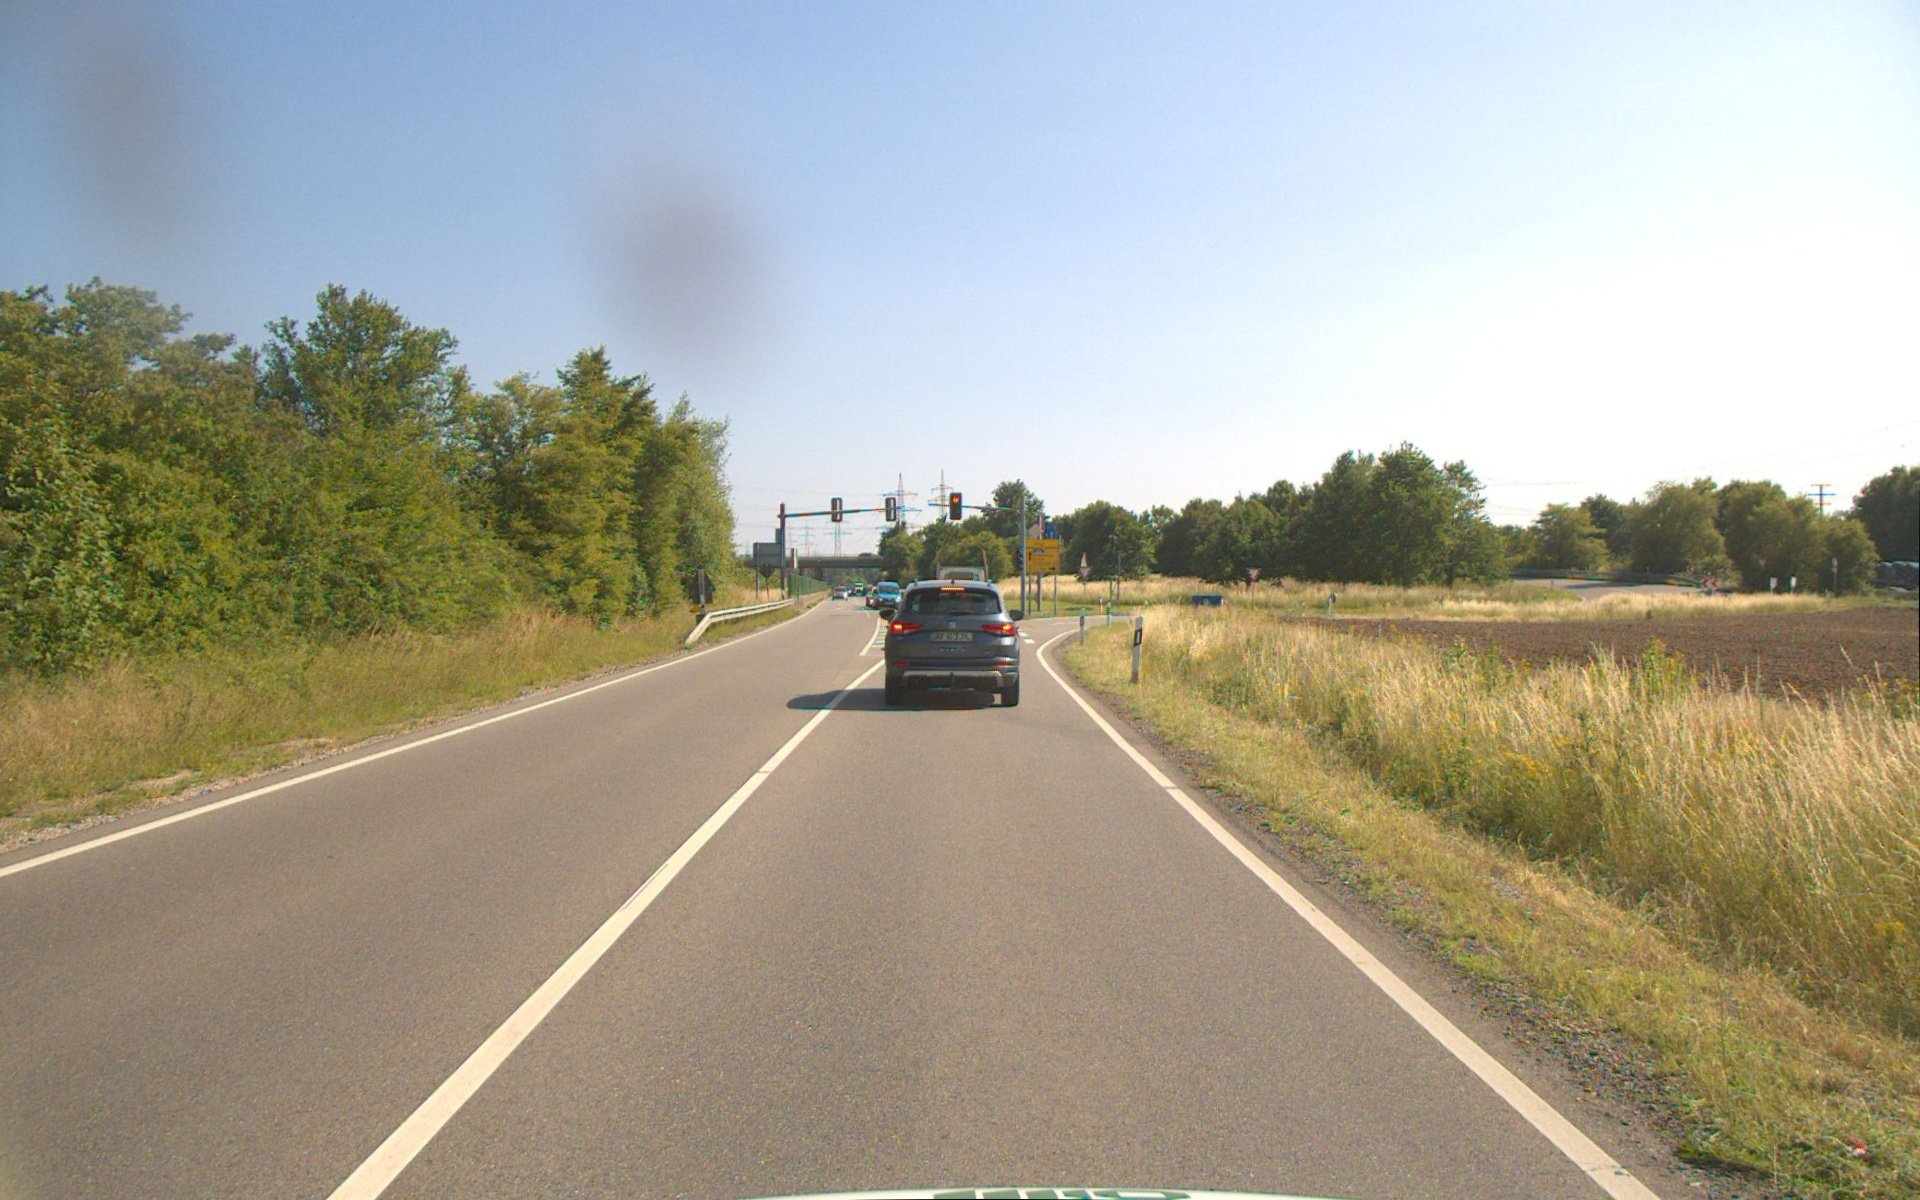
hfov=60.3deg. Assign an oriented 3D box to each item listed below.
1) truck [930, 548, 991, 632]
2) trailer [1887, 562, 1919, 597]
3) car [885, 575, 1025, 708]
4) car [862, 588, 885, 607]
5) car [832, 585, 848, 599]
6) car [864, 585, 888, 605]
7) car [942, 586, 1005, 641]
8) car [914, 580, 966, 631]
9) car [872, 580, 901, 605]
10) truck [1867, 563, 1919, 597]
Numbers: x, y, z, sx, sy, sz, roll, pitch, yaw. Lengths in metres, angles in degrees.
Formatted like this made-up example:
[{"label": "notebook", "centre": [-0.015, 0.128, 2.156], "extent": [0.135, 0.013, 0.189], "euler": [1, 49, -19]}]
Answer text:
[{"label": "truck", "centre": [0.012, -0.374, 65.131], "extent": [2.289, 3.119, 5.809], "euler": [1, 0, 0]}, {"label": "trailer", "centre": [93.866, -1.928, 157.494], "extent": [3.218, 3.324, 13.448], "euler": [0, 1, -2]}, {"label": "car", "centre": [-0.105, 0.489, 22.628], "extent": [1.749, 1.657, 3.999], "euler": [0, 1, -1]}, {"label": "car", "centre": [-6.705, -0.179, 128.074], "extent": [1.651, 1.404, 3.530], "euler": [0, 1, -4]}, {"label": "car", "centre": [-13.699, -0.917, 188.309], "extent": [1.789, 1.456, 3.996], "euler": [0, 1, -5]}, {"label": "car", "centre": [-6.187, -0.368, 121.513], "extent": [1.651, 1.404, 3.530], "euler": [0, 1, -4]}, {"label": "car", "centre": [0.366, 0.380, 49.721], "extent": [1.749, 1.570, 3.999], "euler": [0, 1, -2]}, {"label": "car", "centre": [-0.712, 0.172, 57.543], "extent": [1.749, 1.705, 3.999], "euler": [0, 1, -2]}, {"label": "car", "centre": [-4.877, -0.497, 109.098], "extent": [1.781, 1.567, 3.996], "euler": [0, 1, -5]}, {"label": "truck", "centre": [93.610, -2.046, 164.321], "extent": [3.218, 3.324, 6.426], "euler": [0, 1, -2]}]
